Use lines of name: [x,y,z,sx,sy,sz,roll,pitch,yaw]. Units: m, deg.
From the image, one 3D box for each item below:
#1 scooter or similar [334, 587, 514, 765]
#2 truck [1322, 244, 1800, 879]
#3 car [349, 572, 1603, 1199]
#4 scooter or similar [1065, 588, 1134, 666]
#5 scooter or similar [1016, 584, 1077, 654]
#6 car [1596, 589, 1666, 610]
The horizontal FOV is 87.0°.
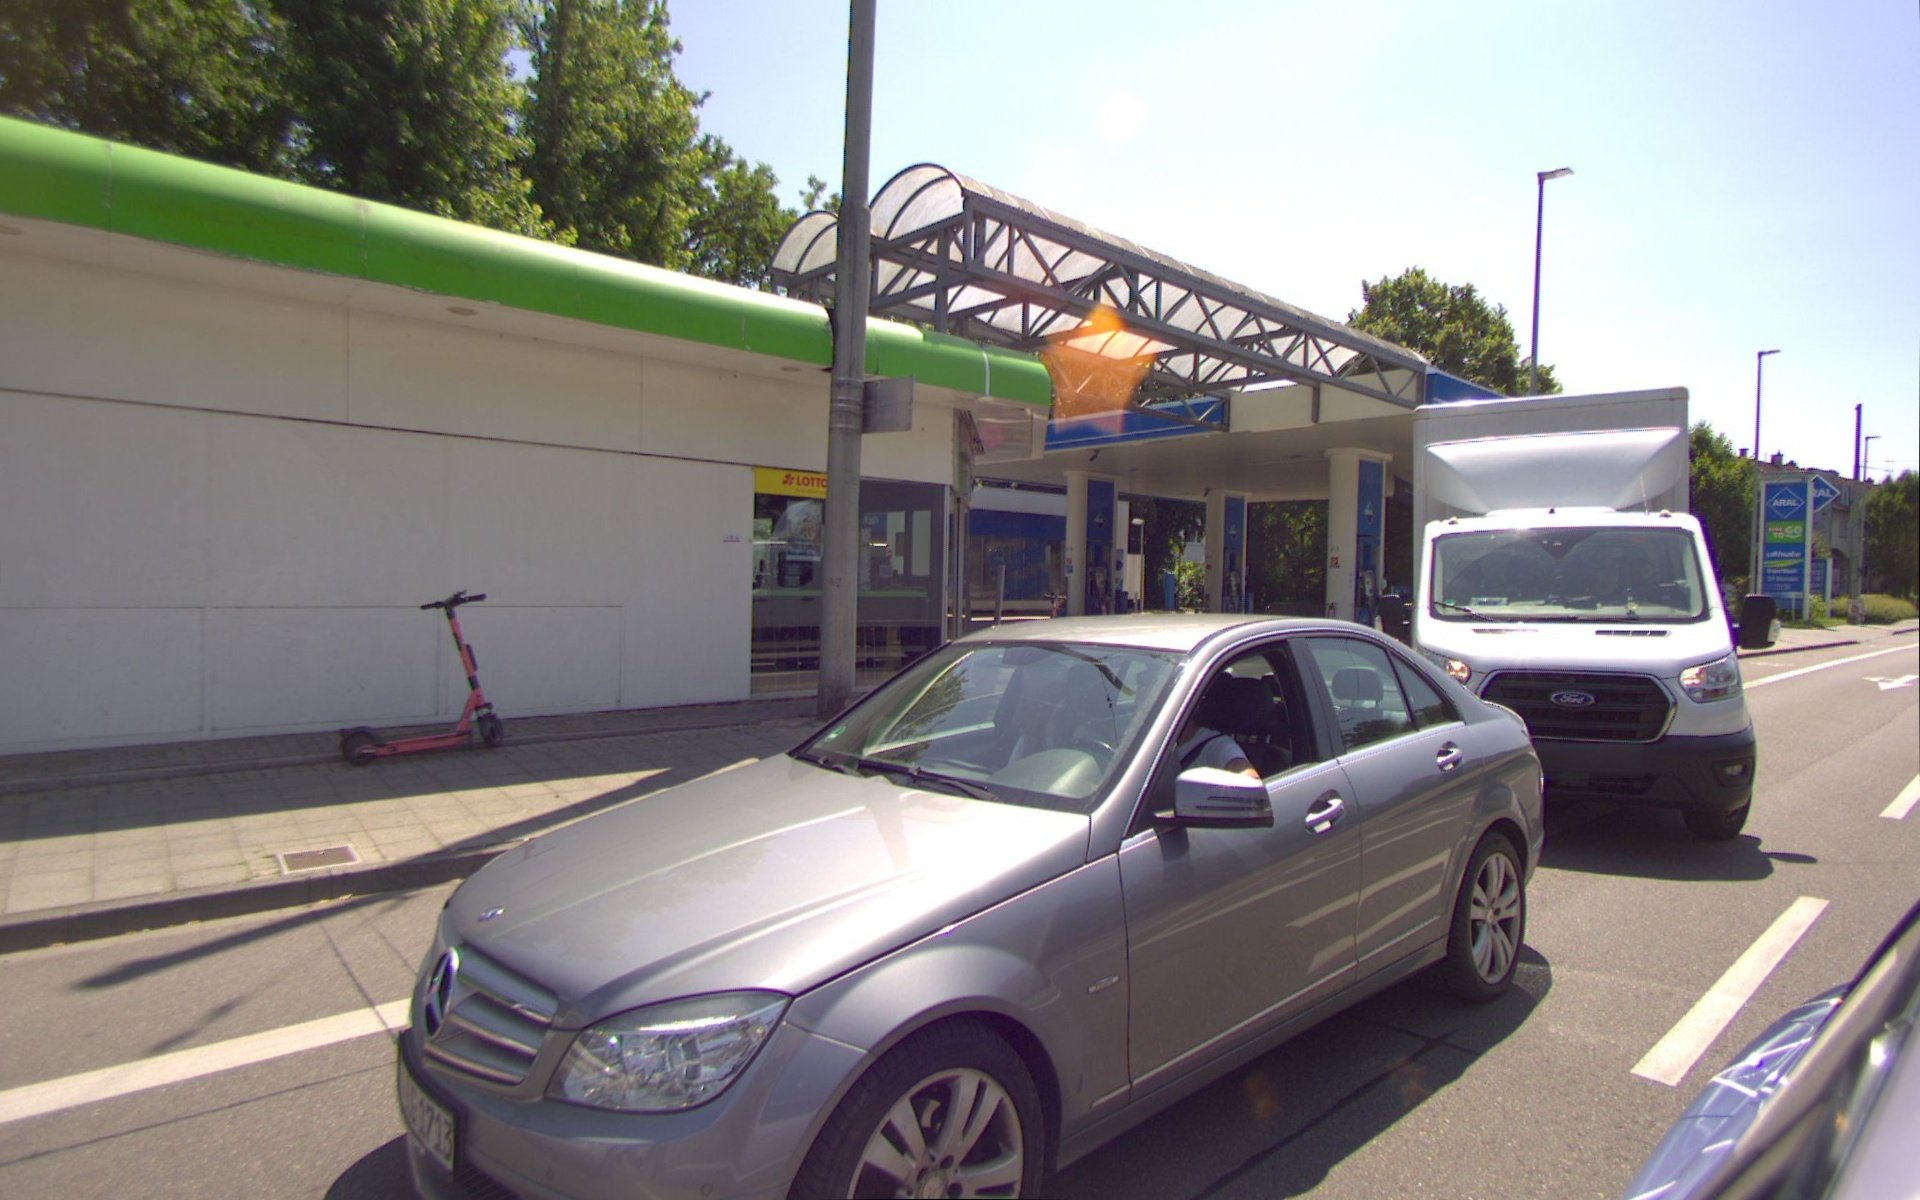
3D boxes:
scooter or similar: [-3.937,0.519,7.457,1.118,1.209,0.384,0,4,-37]
truck: [5.291,-0.275,9.484,2.406,3.434,7.756,1,1,28]
car: [0.504,0.674,3.582,4.340,1.467,1.799,0,1,-41]
scooter or similar: [2.357,0.437,17.154,0.404,1.256,1.176,0,1,-40]
scooter or similar: [1.536,0.320,18.077,0.377,1.191,1.137,0,1,-40]
car: [53.455,-0.035,80.705,1.961,1.540,4.229,0,1,-33]
